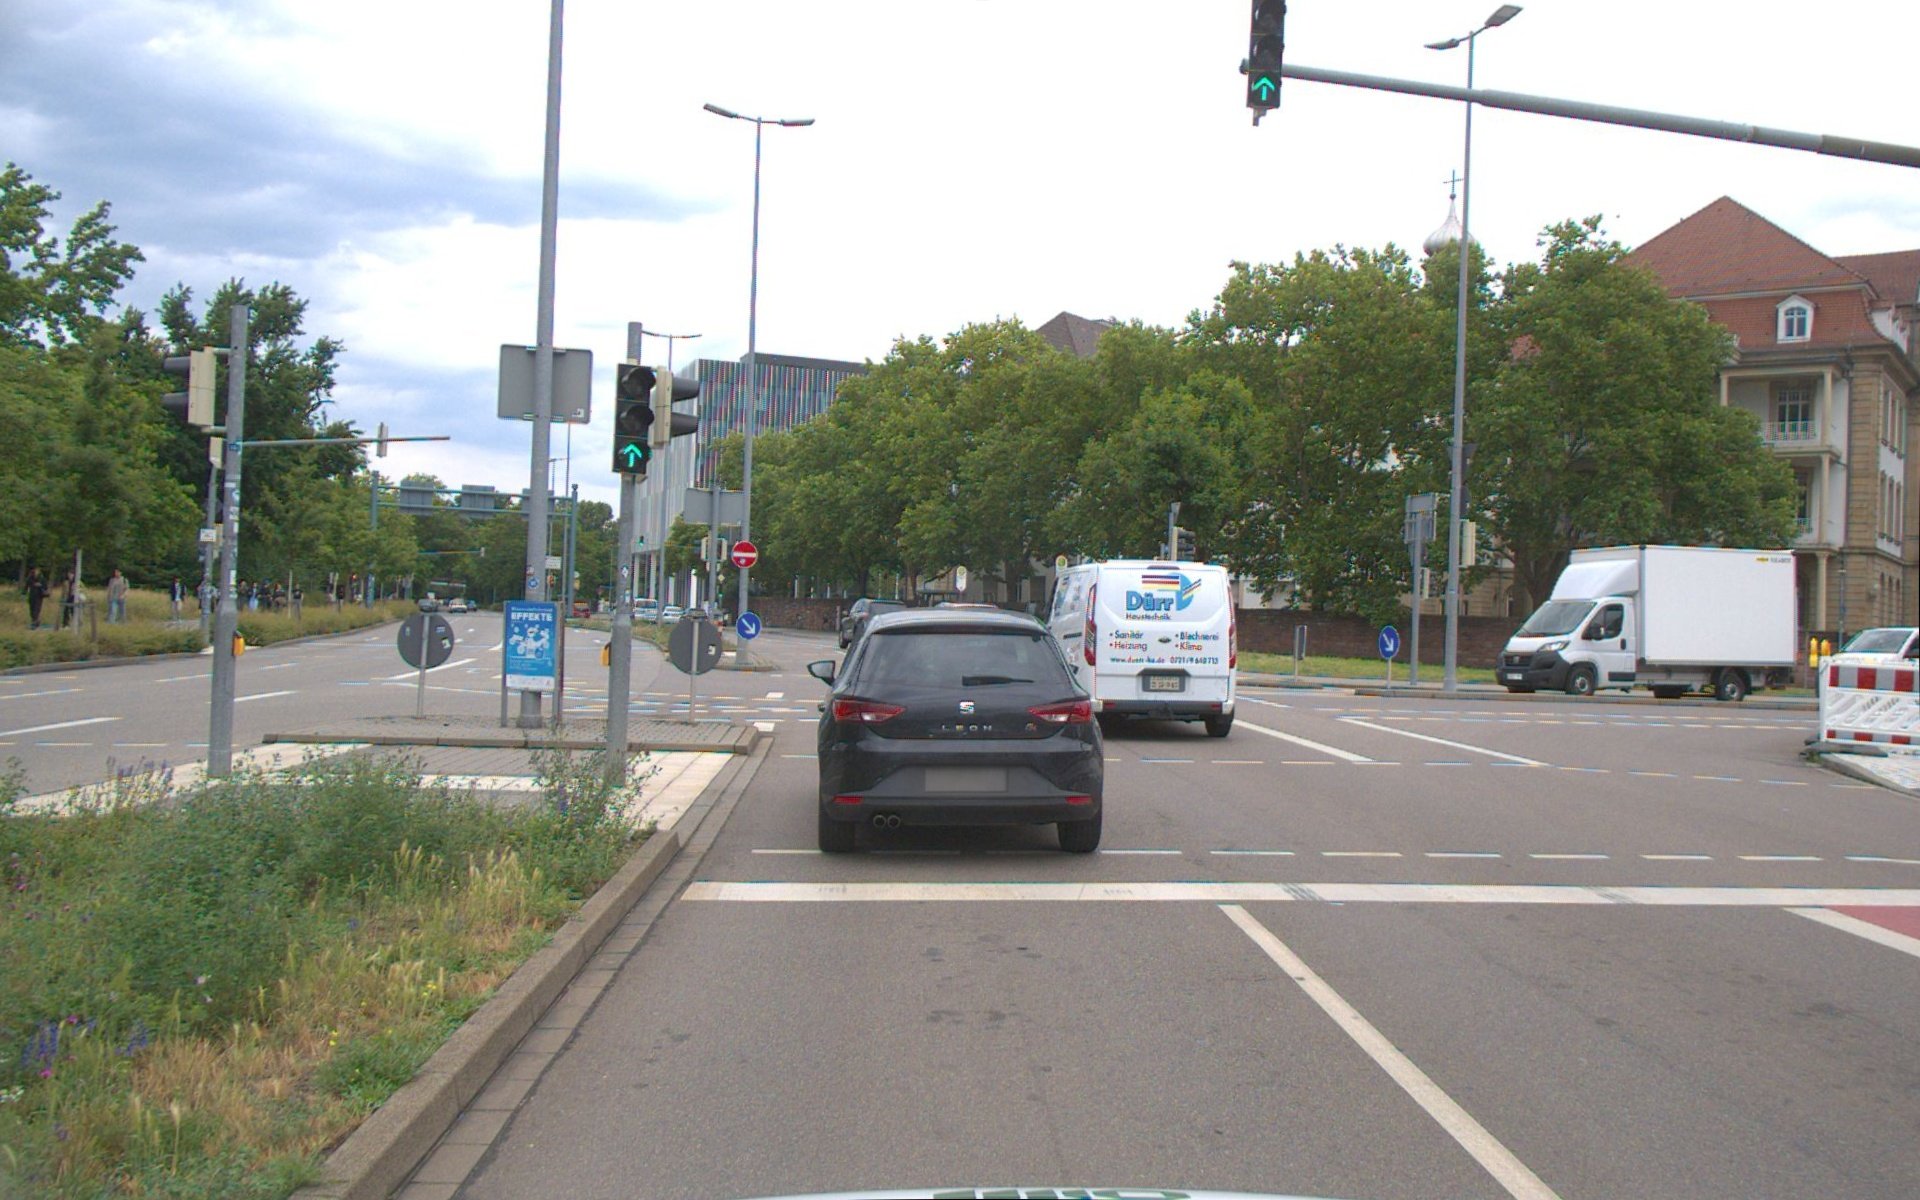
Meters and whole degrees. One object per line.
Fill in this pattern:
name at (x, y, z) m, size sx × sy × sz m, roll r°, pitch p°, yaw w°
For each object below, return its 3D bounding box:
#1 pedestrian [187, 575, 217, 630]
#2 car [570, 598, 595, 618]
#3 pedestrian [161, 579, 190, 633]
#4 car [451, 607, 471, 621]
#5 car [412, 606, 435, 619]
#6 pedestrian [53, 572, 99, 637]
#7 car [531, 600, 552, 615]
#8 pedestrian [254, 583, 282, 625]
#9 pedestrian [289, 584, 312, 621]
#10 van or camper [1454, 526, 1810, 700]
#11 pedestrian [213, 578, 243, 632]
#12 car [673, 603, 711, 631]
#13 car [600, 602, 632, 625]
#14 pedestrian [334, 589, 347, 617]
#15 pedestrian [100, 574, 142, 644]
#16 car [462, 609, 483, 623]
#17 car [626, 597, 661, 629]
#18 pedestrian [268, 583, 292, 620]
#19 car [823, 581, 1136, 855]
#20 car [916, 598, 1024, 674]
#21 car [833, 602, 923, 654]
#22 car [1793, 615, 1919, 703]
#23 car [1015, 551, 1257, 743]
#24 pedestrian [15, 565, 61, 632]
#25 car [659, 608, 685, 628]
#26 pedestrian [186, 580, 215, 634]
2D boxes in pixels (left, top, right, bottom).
pedestrian at (-29.178, 0.100, 63.679) m, size 0.741 × 2.049 × 1.044 m, roll 2°, pitch -1°, yaw -10°
car at (-34.652, 0.702, 151.722) m, size 1.962 × 1.711 × 3.993 m, roll 3°, pitch -1°, yaw -16°
pedestrian at (-27.945, 0.217, 58.901) m, size 0.701 × 1.903 × 0.756 m, roll 2°, pitch -1°, yaw -10°
car at (-53.368, 1.486, 176.689) m, size 1.664 × 1.441 × 3.618 m, roll 2°, pitch -1°, yaw -23°
car at (-62.464, 1.426, 192.585) m, size 1.858 × 1.441 × 3.819 m, roll 2°, pitch -1°, yaw -29°
pedestrian at (-24.519, 0.129, 45.877) m, size 0.740 × 1.742 × 1.045 m, roll 2°, pitch -1°, yaw -7°
car at (-39.128, 0.706, 154.609) m, size 1.685 × 1.287 × 3.322 m, roll 3°, pitch -1°, yaw -18°
pedestrian at (-30.625, 0.181, 73.217) m, size 0.903 × 1.810 × 1.060 m, roll 2°, pitch -1°, yaw -15°
pedestrian at (-33.291, 0.141, 83.535) m, size 0.903 × 1.810 × 1.060 m, roll 2°, pitch -1°, yaw -15°
van or camper at (14.475, 0.358, 35.645) m, size 7.022 × 3.391 × 2.860 m, roll 2°, pitch -2°, yaw -20°
pedestrian at (-28.293, 0.191, 63.935) m, size 0.741 × 2.049 × 1.044 m, roll 2°, pitch -1°, yaw -10°
car at (-17.736, 1.121, 109.416) m, size 1.887 × 1.713 × 3.981 m, roll 2°, pitch -1°, yaw -17°
car at (-26.305, 1.041, 126.373) m, size 1.962 × 1.668 × 3.980 m, roll 2°, pitch -1°, yaw -18°
pedestrian at (-45.746, 0.250, 122.176) m, size 0.709 × 2.049 × 0.780 m, roll 2°, pitch -1°, yaw -10°
pedestrian at (-24.987, 0.281, 49.284) m, size 0.740 × 2.049 × 1.045 m, roll 2°, pitch -1°, yaw -7°
car at (-63.933, 2.097, 217.029) m, size 1.969 × 1.811 × 3.967 m, roll 2°, pitch -1°, yaw -26°
car at (-21.535, 0.860, 112.407) m, size 1.961 × 2.049 × 3.983 m, roll 2°, pitch -1°, yaw -16°
pedestrian at (-34.217, 0.096, 83.271) m, size 0.903 × 1.810 × 1.060 m, roll 2°, pitch -1°, yaw -15°
car at (-0.015, 0.704, 11.095) m, size 1.711 × 1.490 × 3.996 m, roll 1°, pitch -2°, yaw -4°
car at (0.178, 0.815, 38.757) m, size 1.824 × 1.628 × 4.196 m, roll 2°, pitch -1°, yaw -9°
car at (-2.761, 0.908, 54.646) m, size 1.962 × 1.593 × 4.185 m, roll 2°, pitch -1°, yaw -17°
car at (21.968, 1.424, 38.260) m, size 4.913 × 1.897 × 1.989 m, roll 2°, pitch -4°, yaw -19°
car at (2.033, 0.534, 20.717) m, size 1.955 × 2.054 × 5.025 m, roll 2°, pitch -1°, yaw -6°
pedestrian at (-25.278, -0.050, 45.361) m, size 0.740 × 1.796 × 0.905 m, roll 2°, pitch -1°, yaw -7°
car at (-20.961, 1.286, 120.180) m, size 1.501 × 1.389 × 2.956 m, roll 2°, pitch -1°, yaw -17°
pedestrian at (-27.175, 0.266, 59.158) m, size 0.701 × 1.903 × 0.756 m, roll 2°, pitch -1°, yaw -10°
